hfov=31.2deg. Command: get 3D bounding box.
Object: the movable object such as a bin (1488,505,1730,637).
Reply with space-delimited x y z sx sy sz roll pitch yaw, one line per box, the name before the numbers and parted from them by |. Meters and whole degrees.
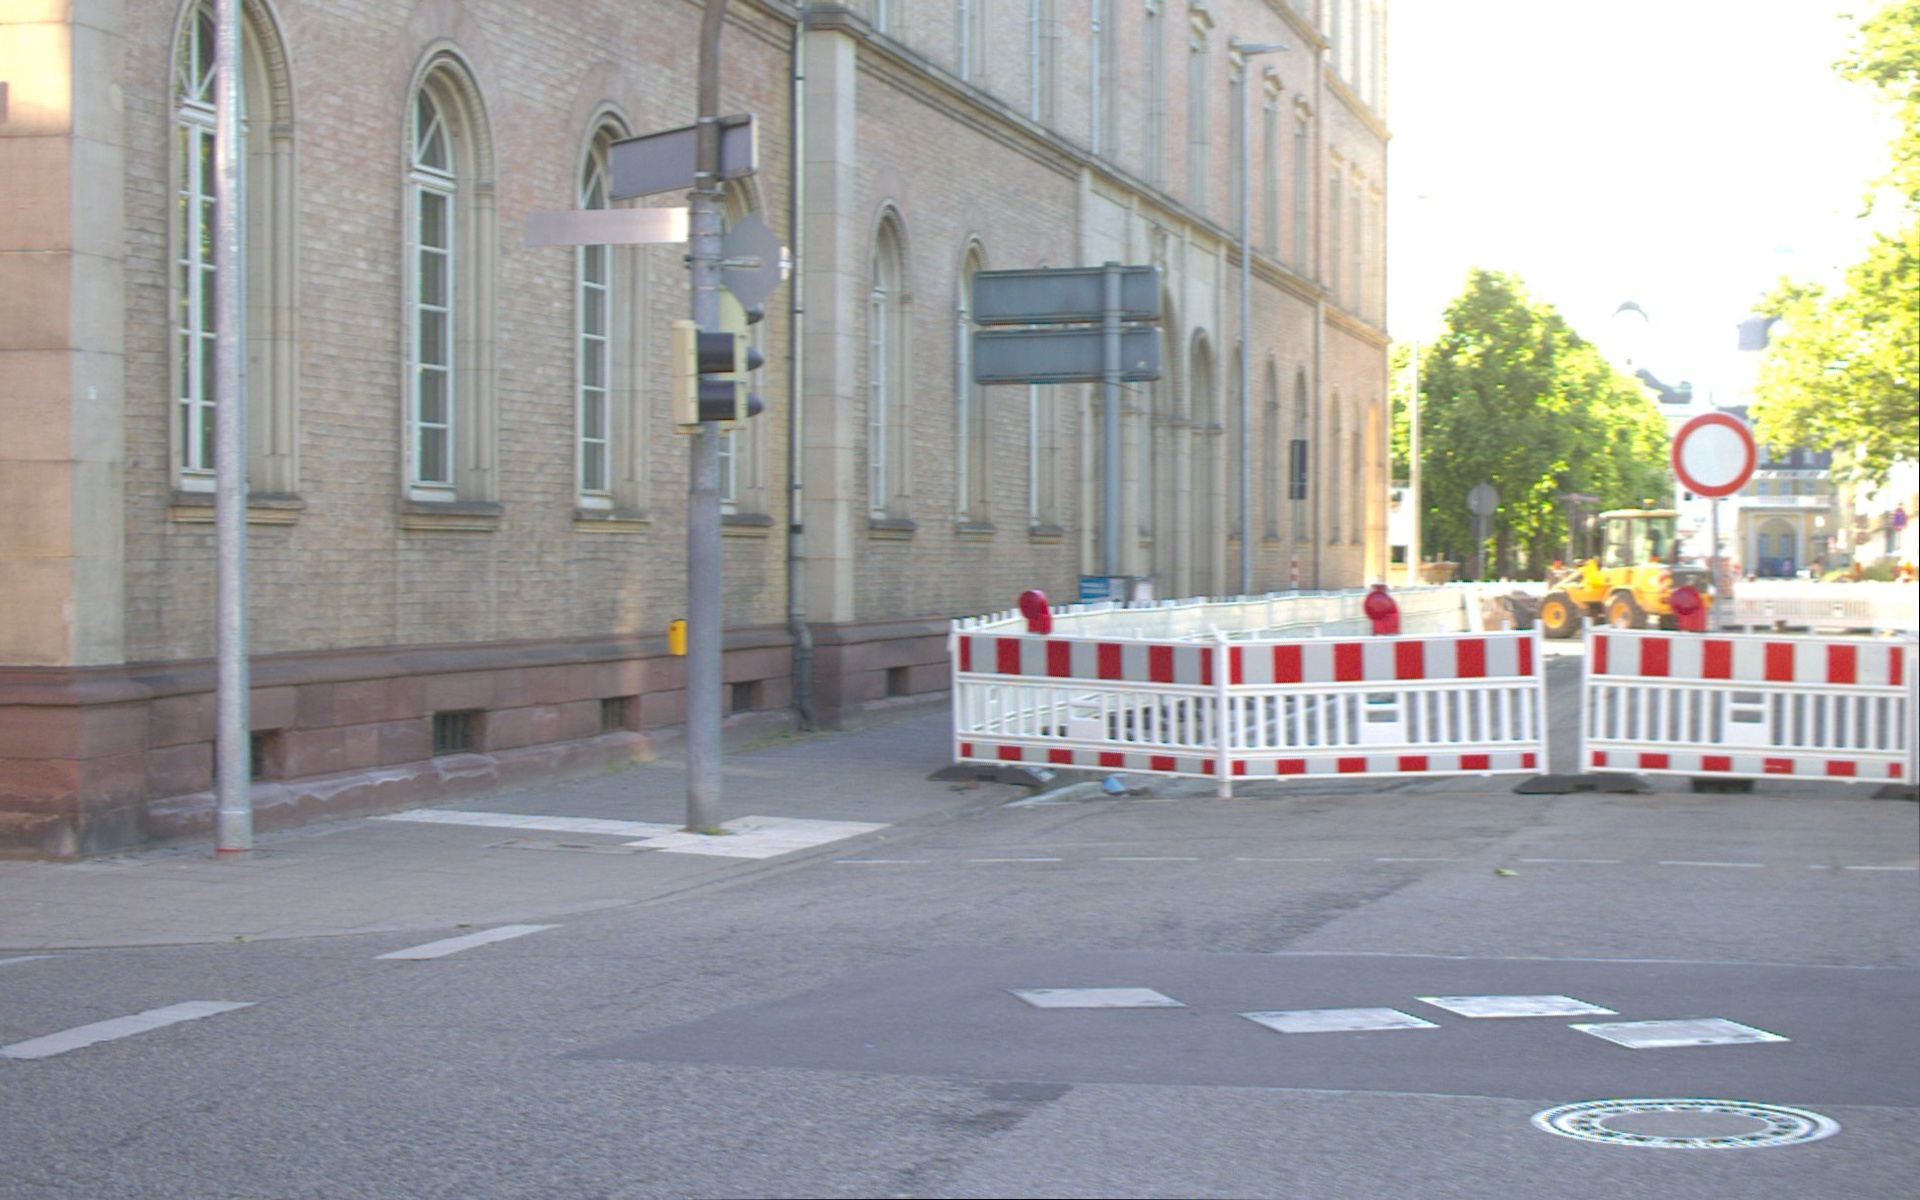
movable object such as a bin | 14.065 -0.646 74.731 2.466 2.767 4.842 0 1 -34
